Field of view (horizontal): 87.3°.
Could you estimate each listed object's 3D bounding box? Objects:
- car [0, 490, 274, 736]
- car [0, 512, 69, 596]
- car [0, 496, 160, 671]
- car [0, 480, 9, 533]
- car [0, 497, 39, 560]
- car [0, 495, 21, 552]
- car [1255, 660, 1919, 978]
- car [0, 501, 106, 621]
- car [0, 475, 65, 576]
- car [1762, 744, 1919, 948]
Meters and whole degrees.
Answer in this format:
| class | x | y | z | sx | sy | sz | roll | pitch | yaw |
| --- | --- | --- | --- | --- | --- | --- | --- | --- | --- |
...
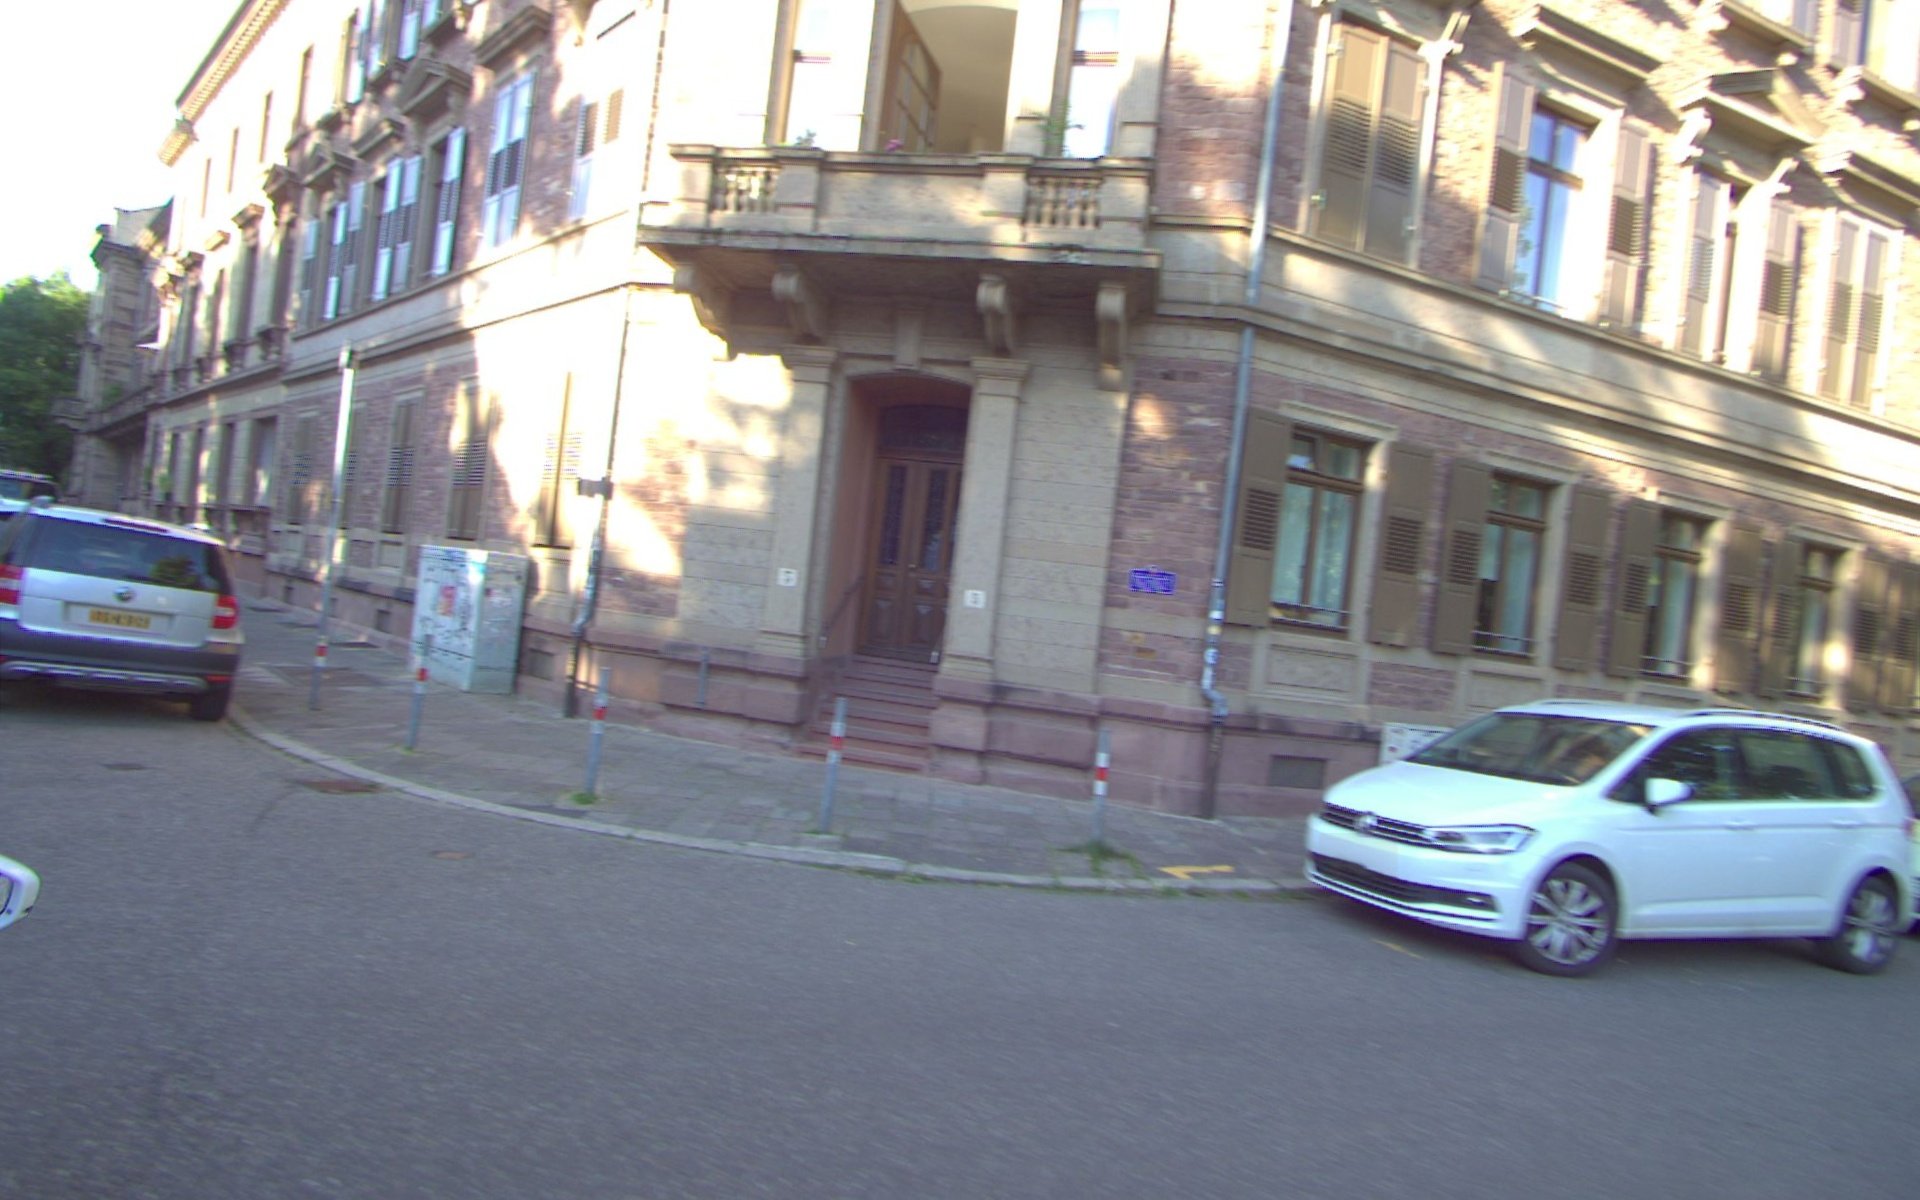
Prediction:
| class | x | y | z | sx | sy | sz | roll | pitch | yaw |
| --- | --- | --- | --- | --- | --- | --- | --- | --- | --- |
| car | -7.959 | 0.010 | 9.092 | 4.132 | 1.674 | 1.914 | 6 | -4 | 44 |
| car | -18.914 | -1.027 | 19.692 | 3.903 | 1.360 | 1.796 | 6 | -3 | 44 |
| car | -11.623 | -0.346 | 12.583 | 4.485 | 1.742 | 1.824 | 6 | -4 | 45 |
| car | -34.862 | -3.319 | 35.294 | 3.903 | 2.095 | 1.796 | 6 | -3 | 44 |
| car | -26.789 | -2.123 | 27.673 | 3.903 | 1.540 | 1.796 | 6 | -3 | 44 |
| car | -30.630 | -2.550 | 31.261 | 3.903 | 1.640 | 1.796 | 6 | -3 | 44 |
| car | 4.580 | 1.514 | 7.144 | 4.435 | 1.668 | 1.868 | 7 | -3 | -20 |
| car | -15.511 | -0.770 | 16.377 | 3.900 | 1.632 | 1.797 | 7 | -3 | 42 |
| car | -22.821 | -1.880 | 23.923 | 3.903 | 2.095 | 1.796 | 6 | -3 | 44 |
| car | 9.389 | 2.285 | 9.079 | 3.674 | 1.506 | 1.735 | 7 | -3 | -22 |
